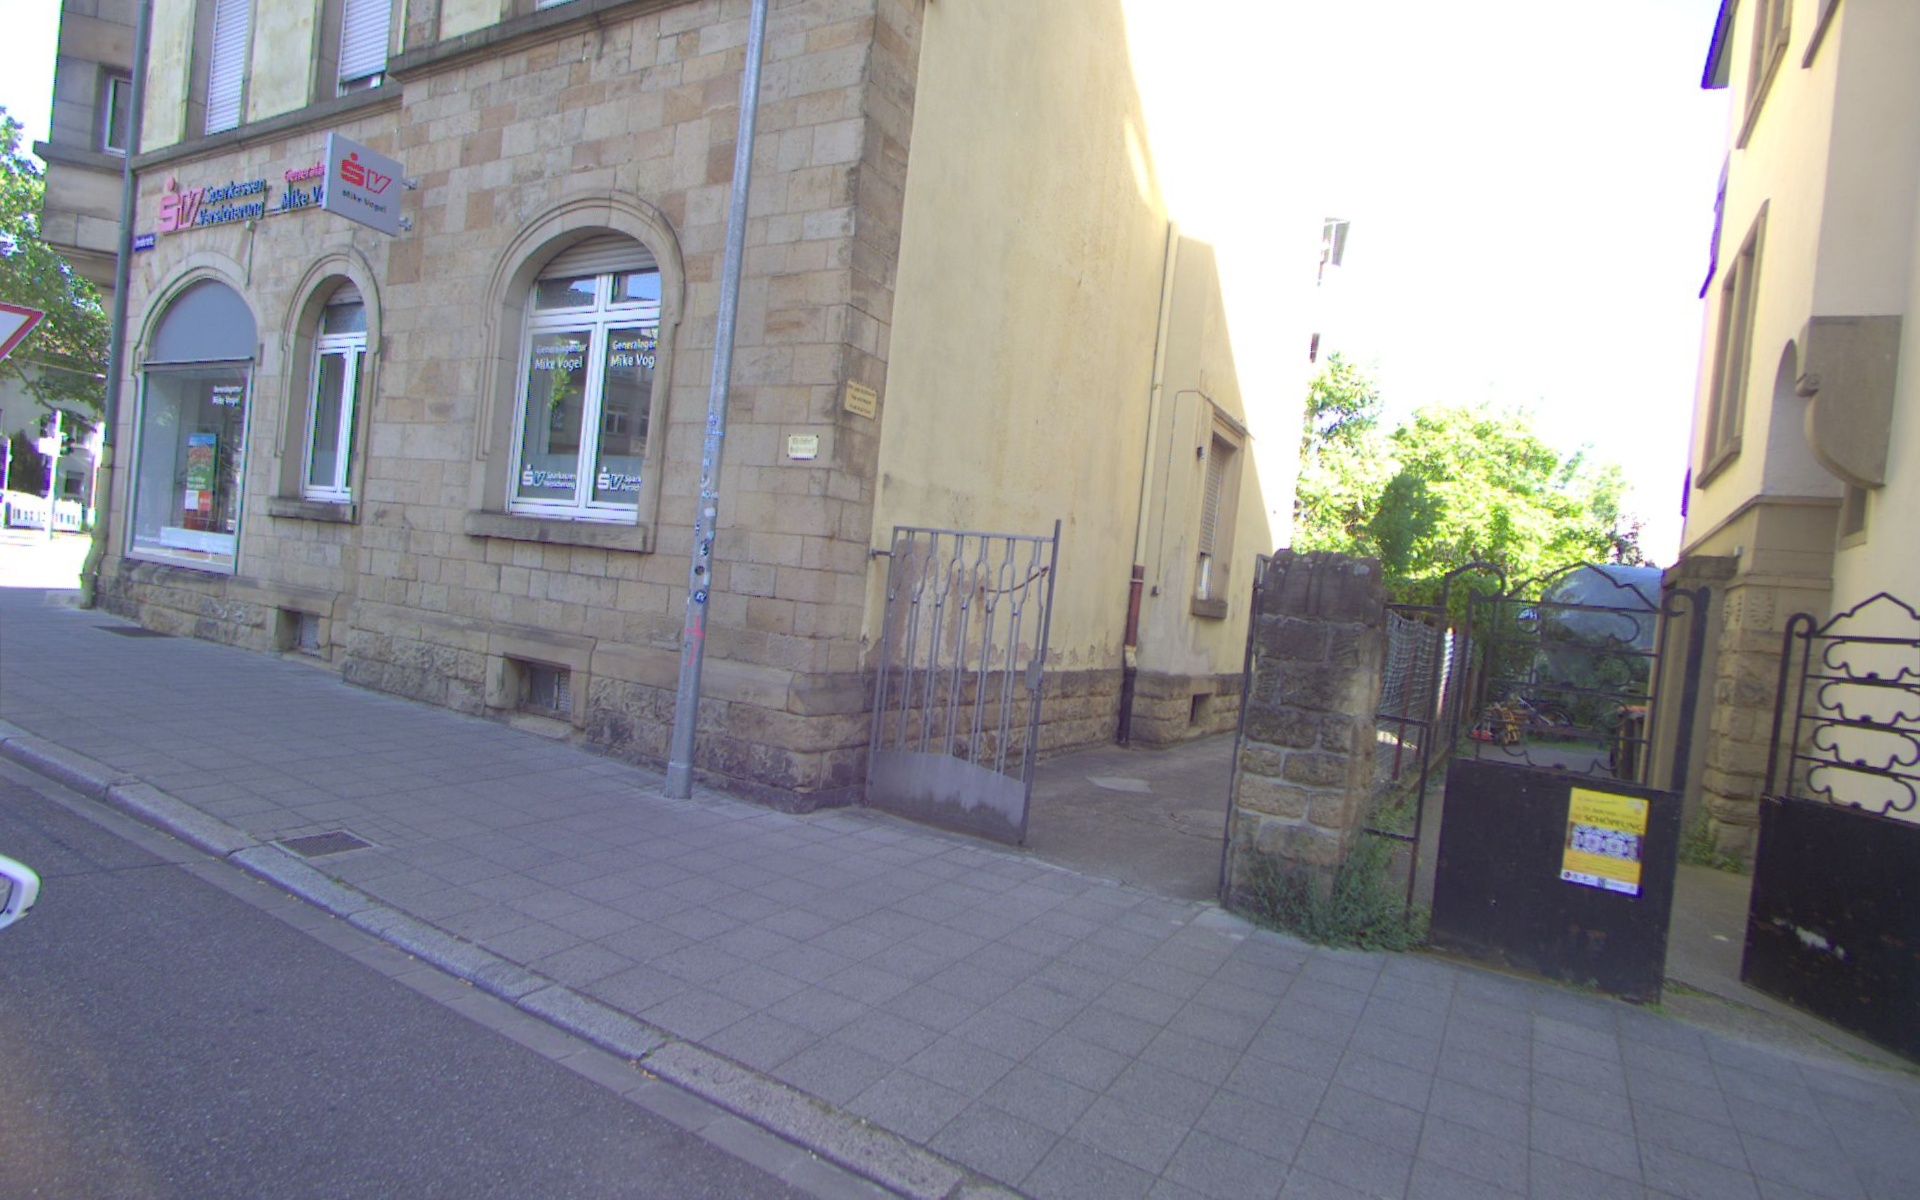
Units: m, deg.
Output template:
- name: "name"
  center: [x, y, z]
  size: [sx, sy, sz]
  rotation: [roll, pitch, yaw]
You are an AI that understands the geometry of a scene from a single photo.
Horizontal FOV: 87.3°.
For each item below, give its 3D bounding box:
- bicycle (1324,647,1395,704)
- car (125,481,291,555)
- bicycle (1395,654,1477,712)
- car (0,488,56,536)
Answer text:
- name: "bicycle"
  center: [10.055, 1.867, 25.427]
  size: [0.860, 1.180, 2.659]
  rotation: [6, 0, 6]
- name: "car"
  center: [-34.250, -3.675, 46.084]
  size: [1.962, 2.600, 6.061]
  rotation: [7, 0, 14]
- name: "bicycle"
  center: [11.743, 2.024, 24.959]
  size: [0.855, 1.124, 2.864]
  rotation: [6, 0, 7]
- name: "car"
  center: [-34.121, -3.218, 34.870]
  size: [1.599, 1.491, 3.799]
  rotation: [7, 1, 18]
